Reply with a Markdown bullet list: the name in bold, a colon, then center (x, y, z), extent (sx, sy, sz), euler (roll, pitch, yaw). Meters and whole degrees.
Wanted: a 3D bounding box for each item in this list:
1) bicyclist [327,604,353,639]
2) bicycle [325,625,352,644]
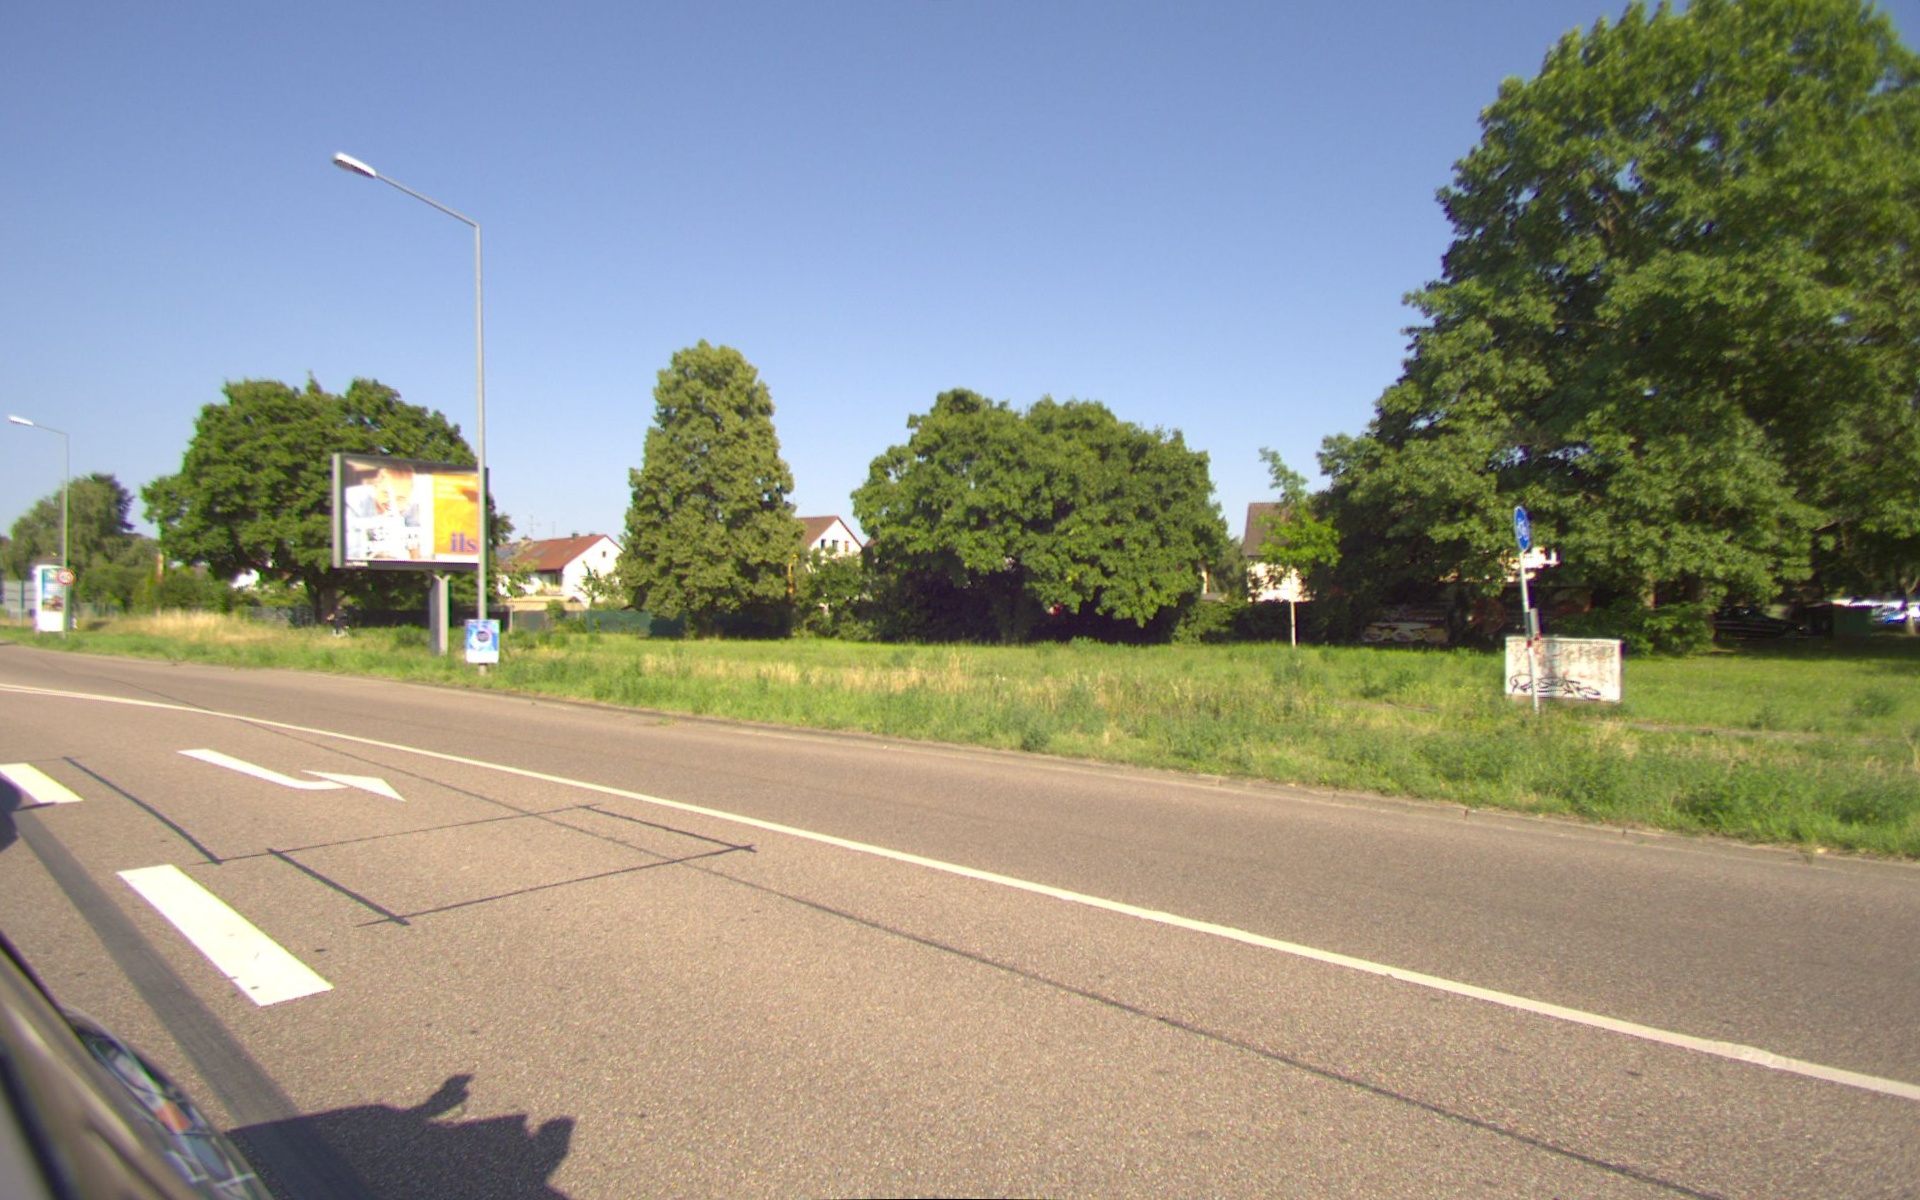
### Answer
- **bicyclist**: center (-25.776, 0.893, 42.072), extent (1.071, 1.439, 0.630), euler (-1, -1, 41)
- **bicycle**: center (-25.843, 1.415, 42.083), extent (1.833, 0.759, 0.449), euler (-1, -1, 41)
